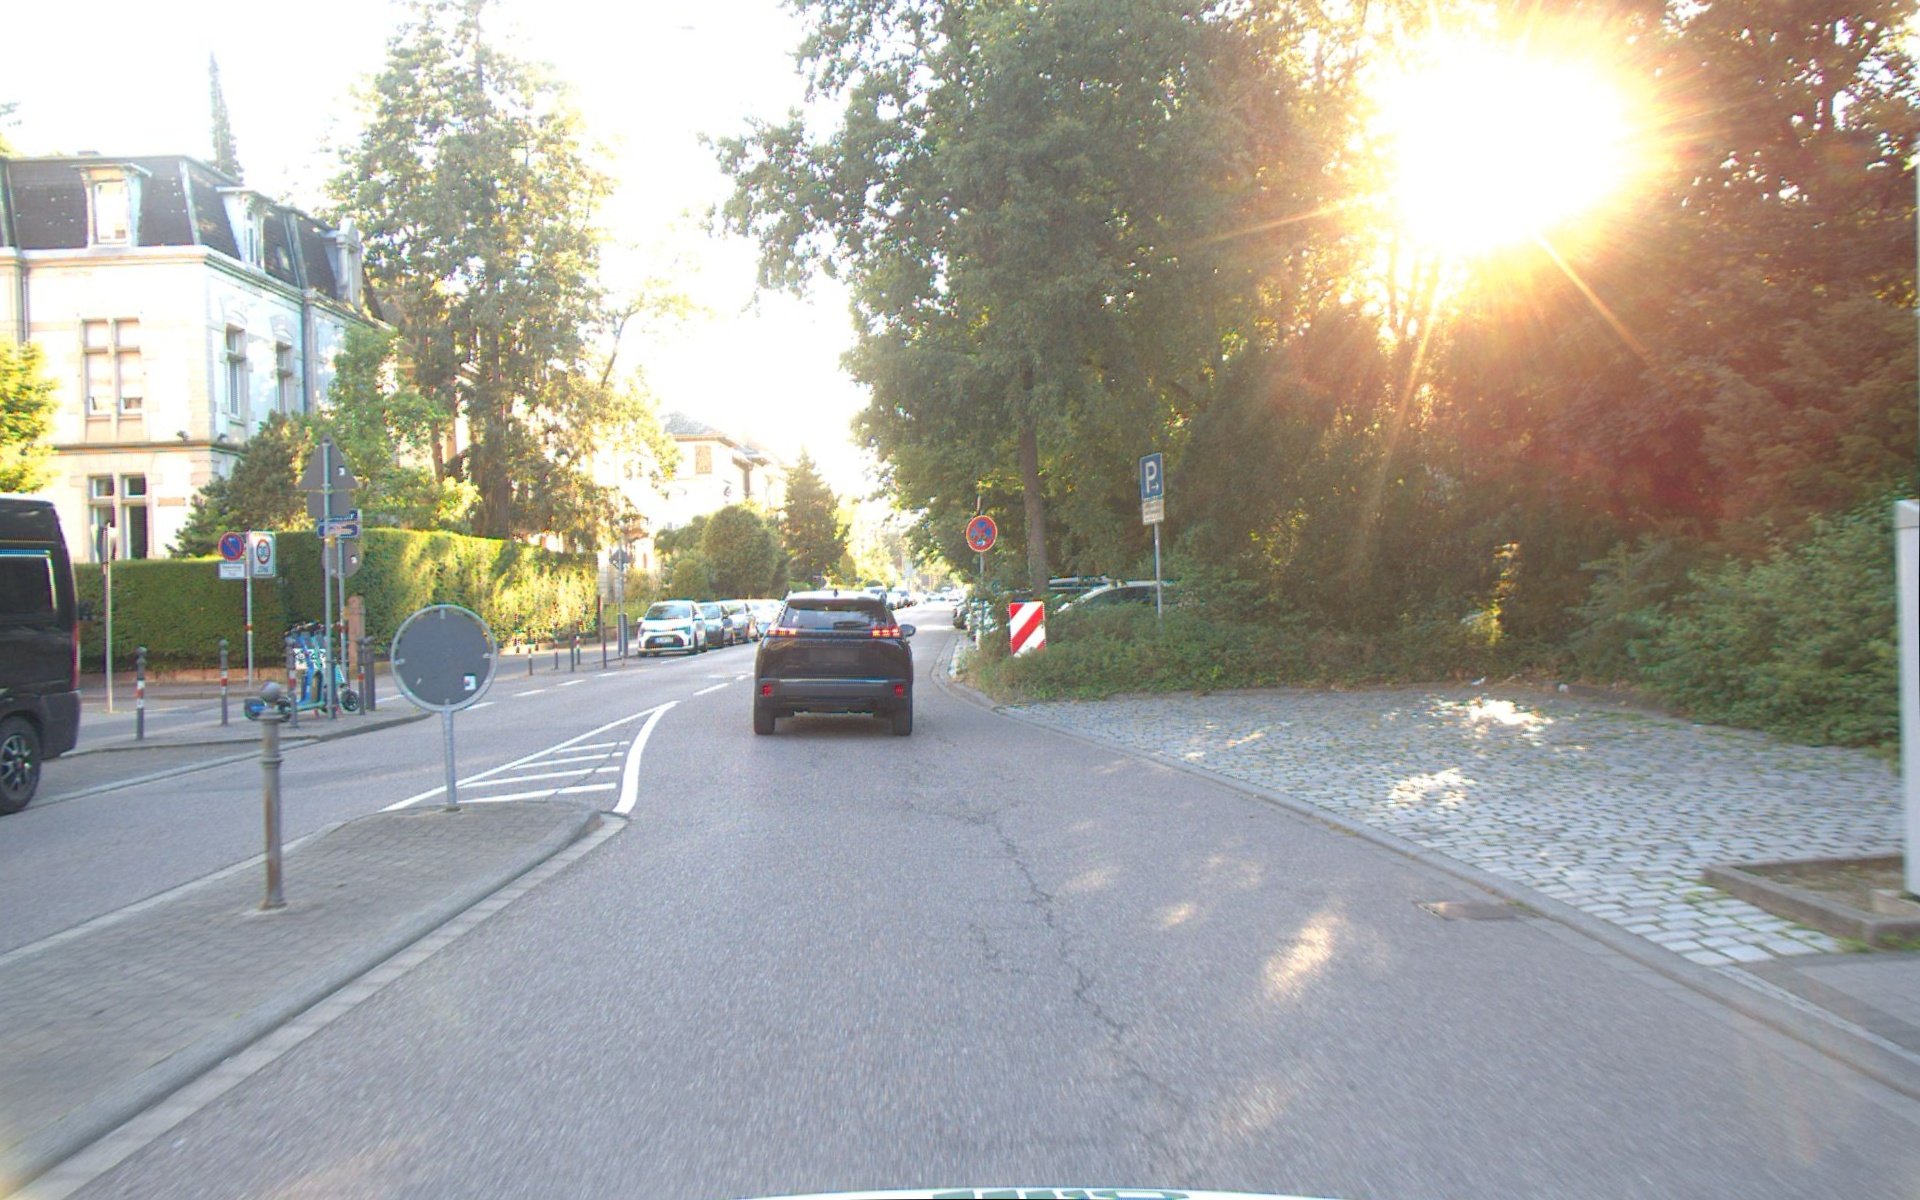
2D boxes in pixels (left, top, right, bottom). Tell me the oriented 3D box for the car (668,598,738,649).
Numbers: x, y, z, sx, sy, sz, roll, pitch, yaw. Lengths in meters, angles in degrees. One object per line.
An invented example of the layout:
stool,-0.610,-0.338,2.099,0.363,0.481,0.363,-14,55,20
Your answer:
car,-8.120,0.717,52.516,1.581,1.511,3.741,-2,0,0

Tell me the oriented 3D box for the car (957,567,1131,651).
car,2.097,0.222,42.068,4.220,1.836,2.035,-3,0,-1

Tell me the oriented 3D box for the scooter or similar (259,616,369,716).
scooter or similar,-8.848,0.889,22.664,1.329,1.297,0.426,-2,0,-36

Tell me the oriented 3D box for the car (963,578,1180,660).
car,2.447,0.386,36.513,4.409,1.581,1.850,-2,1,-15

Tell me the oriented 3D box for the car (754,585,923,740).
car,-1.479,0.636,19.318,1.737,1.596,4.103,1,0,-6

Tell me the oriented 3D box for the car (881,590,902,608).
car,-7.132,-0.086,173.150,1.953,1.847,4.000,-1,0,0

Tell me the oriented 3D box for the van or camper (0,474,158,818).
van or camper,-8.301,0.350,11.341,2.184,2.589,7.079,0,0,0

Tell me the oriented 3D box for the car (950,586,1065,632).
car,1.748,0.340,62.307,4.158,1.474,2.020,-3,0,-2

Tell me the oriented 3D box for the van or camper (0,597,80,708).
van or camper,-20.862,1.104,33.695,4.669,2.019,2.002,-2,4,2

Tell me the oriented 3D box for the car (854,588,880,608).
car,-7.555,-0.172,134.964,1.861,1.601,4.000,-1,0,0

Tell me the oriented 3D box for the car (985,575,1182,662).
car,2.518,0.364,34.270,3.905,1.581,1.752,-2,1,0

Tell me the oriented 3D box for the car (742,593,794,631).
car,-7.914,0.478,68.569,1.580,1.492,4.036,-2,0,1

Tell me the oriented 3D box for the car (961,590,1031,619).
car,2.089,0.254,96.893,3.909,1.552,1.756,-1,0,-5

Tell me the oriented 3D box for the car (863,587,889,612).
car,-7.349,-0.050,145.493,1.952,2.049,4.001,-1,0,1

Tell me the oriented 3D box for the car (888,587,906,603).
car,-7.456,-0.561,196.284,1.953,1.847,4.000,-1,0,0

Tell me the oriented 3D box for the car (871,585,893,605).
car,-7.398,-0.464,157.367,1.953,1.799,4.000,-1,0,0

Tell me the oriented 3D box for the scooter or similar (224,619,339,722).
scooter or similar,-9.009,0.921,21.977,1.329,1.297,0.426,-2,0,-36

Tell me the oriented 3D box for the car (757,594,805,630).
car,-7.899,0.514,73.176,1.580,1.492,4.036,-2,0,1

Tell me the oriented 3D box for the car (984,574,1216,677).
car,2.413,0.426,29.170,3.905,1.581,1.726,-2,1,0

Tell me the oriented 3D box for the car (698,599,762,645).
car,-7.929,0.734,57.271,1.580,1.492,4.036,-2,0,1

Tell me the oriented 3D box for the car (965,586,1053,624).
car,2.187,0.227,74.556,3.733,1.474,1.824,-3,0,-4

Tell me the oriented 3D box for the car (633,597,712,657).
car,-8.097,0.732,46.872,1.581,1.541,3.711,-4,0,-2

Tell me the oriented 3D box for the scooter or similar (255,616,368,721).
scooter or similar,-8.463,0.875,21.617,0.423,1.297,1.339,-2,0,35

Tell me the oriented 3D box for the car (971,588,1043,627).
car,2.681,0.434,94.304,3.909,2.126,1.756,-1,0,-5

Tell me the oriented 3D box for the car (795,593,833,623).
car,-7.883,0.416,89.627,1.717,1.438,3.763,-4,1,-1
